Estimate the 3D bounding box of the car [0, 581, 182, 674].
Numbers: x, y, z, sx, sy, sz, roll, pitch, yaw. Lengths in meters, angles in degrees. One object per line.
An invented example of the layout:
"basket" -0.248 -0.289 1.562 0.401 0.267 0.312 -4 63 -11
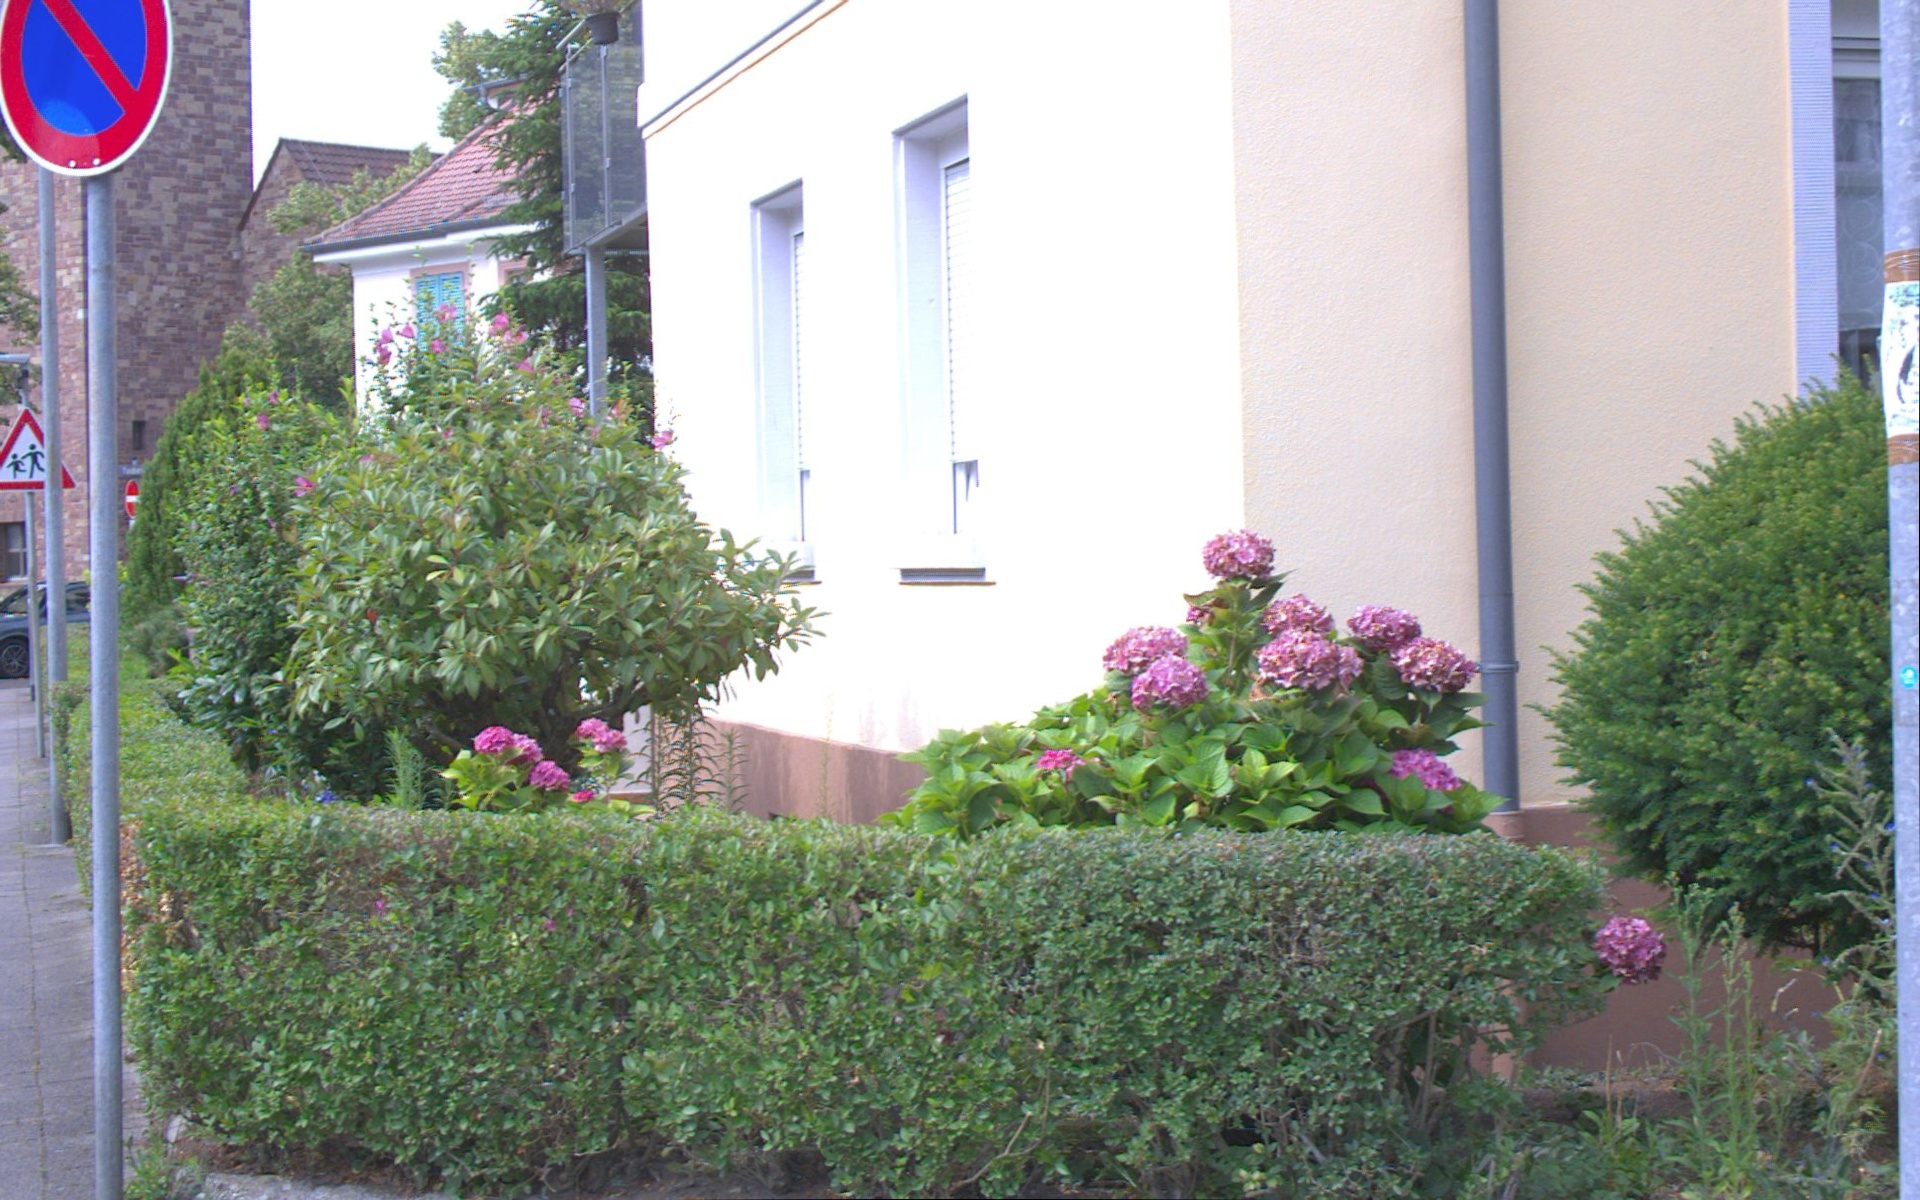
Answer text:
"car" -15.361 0.457 58.118 4.212 1.459 1.685 -1 2 -16
